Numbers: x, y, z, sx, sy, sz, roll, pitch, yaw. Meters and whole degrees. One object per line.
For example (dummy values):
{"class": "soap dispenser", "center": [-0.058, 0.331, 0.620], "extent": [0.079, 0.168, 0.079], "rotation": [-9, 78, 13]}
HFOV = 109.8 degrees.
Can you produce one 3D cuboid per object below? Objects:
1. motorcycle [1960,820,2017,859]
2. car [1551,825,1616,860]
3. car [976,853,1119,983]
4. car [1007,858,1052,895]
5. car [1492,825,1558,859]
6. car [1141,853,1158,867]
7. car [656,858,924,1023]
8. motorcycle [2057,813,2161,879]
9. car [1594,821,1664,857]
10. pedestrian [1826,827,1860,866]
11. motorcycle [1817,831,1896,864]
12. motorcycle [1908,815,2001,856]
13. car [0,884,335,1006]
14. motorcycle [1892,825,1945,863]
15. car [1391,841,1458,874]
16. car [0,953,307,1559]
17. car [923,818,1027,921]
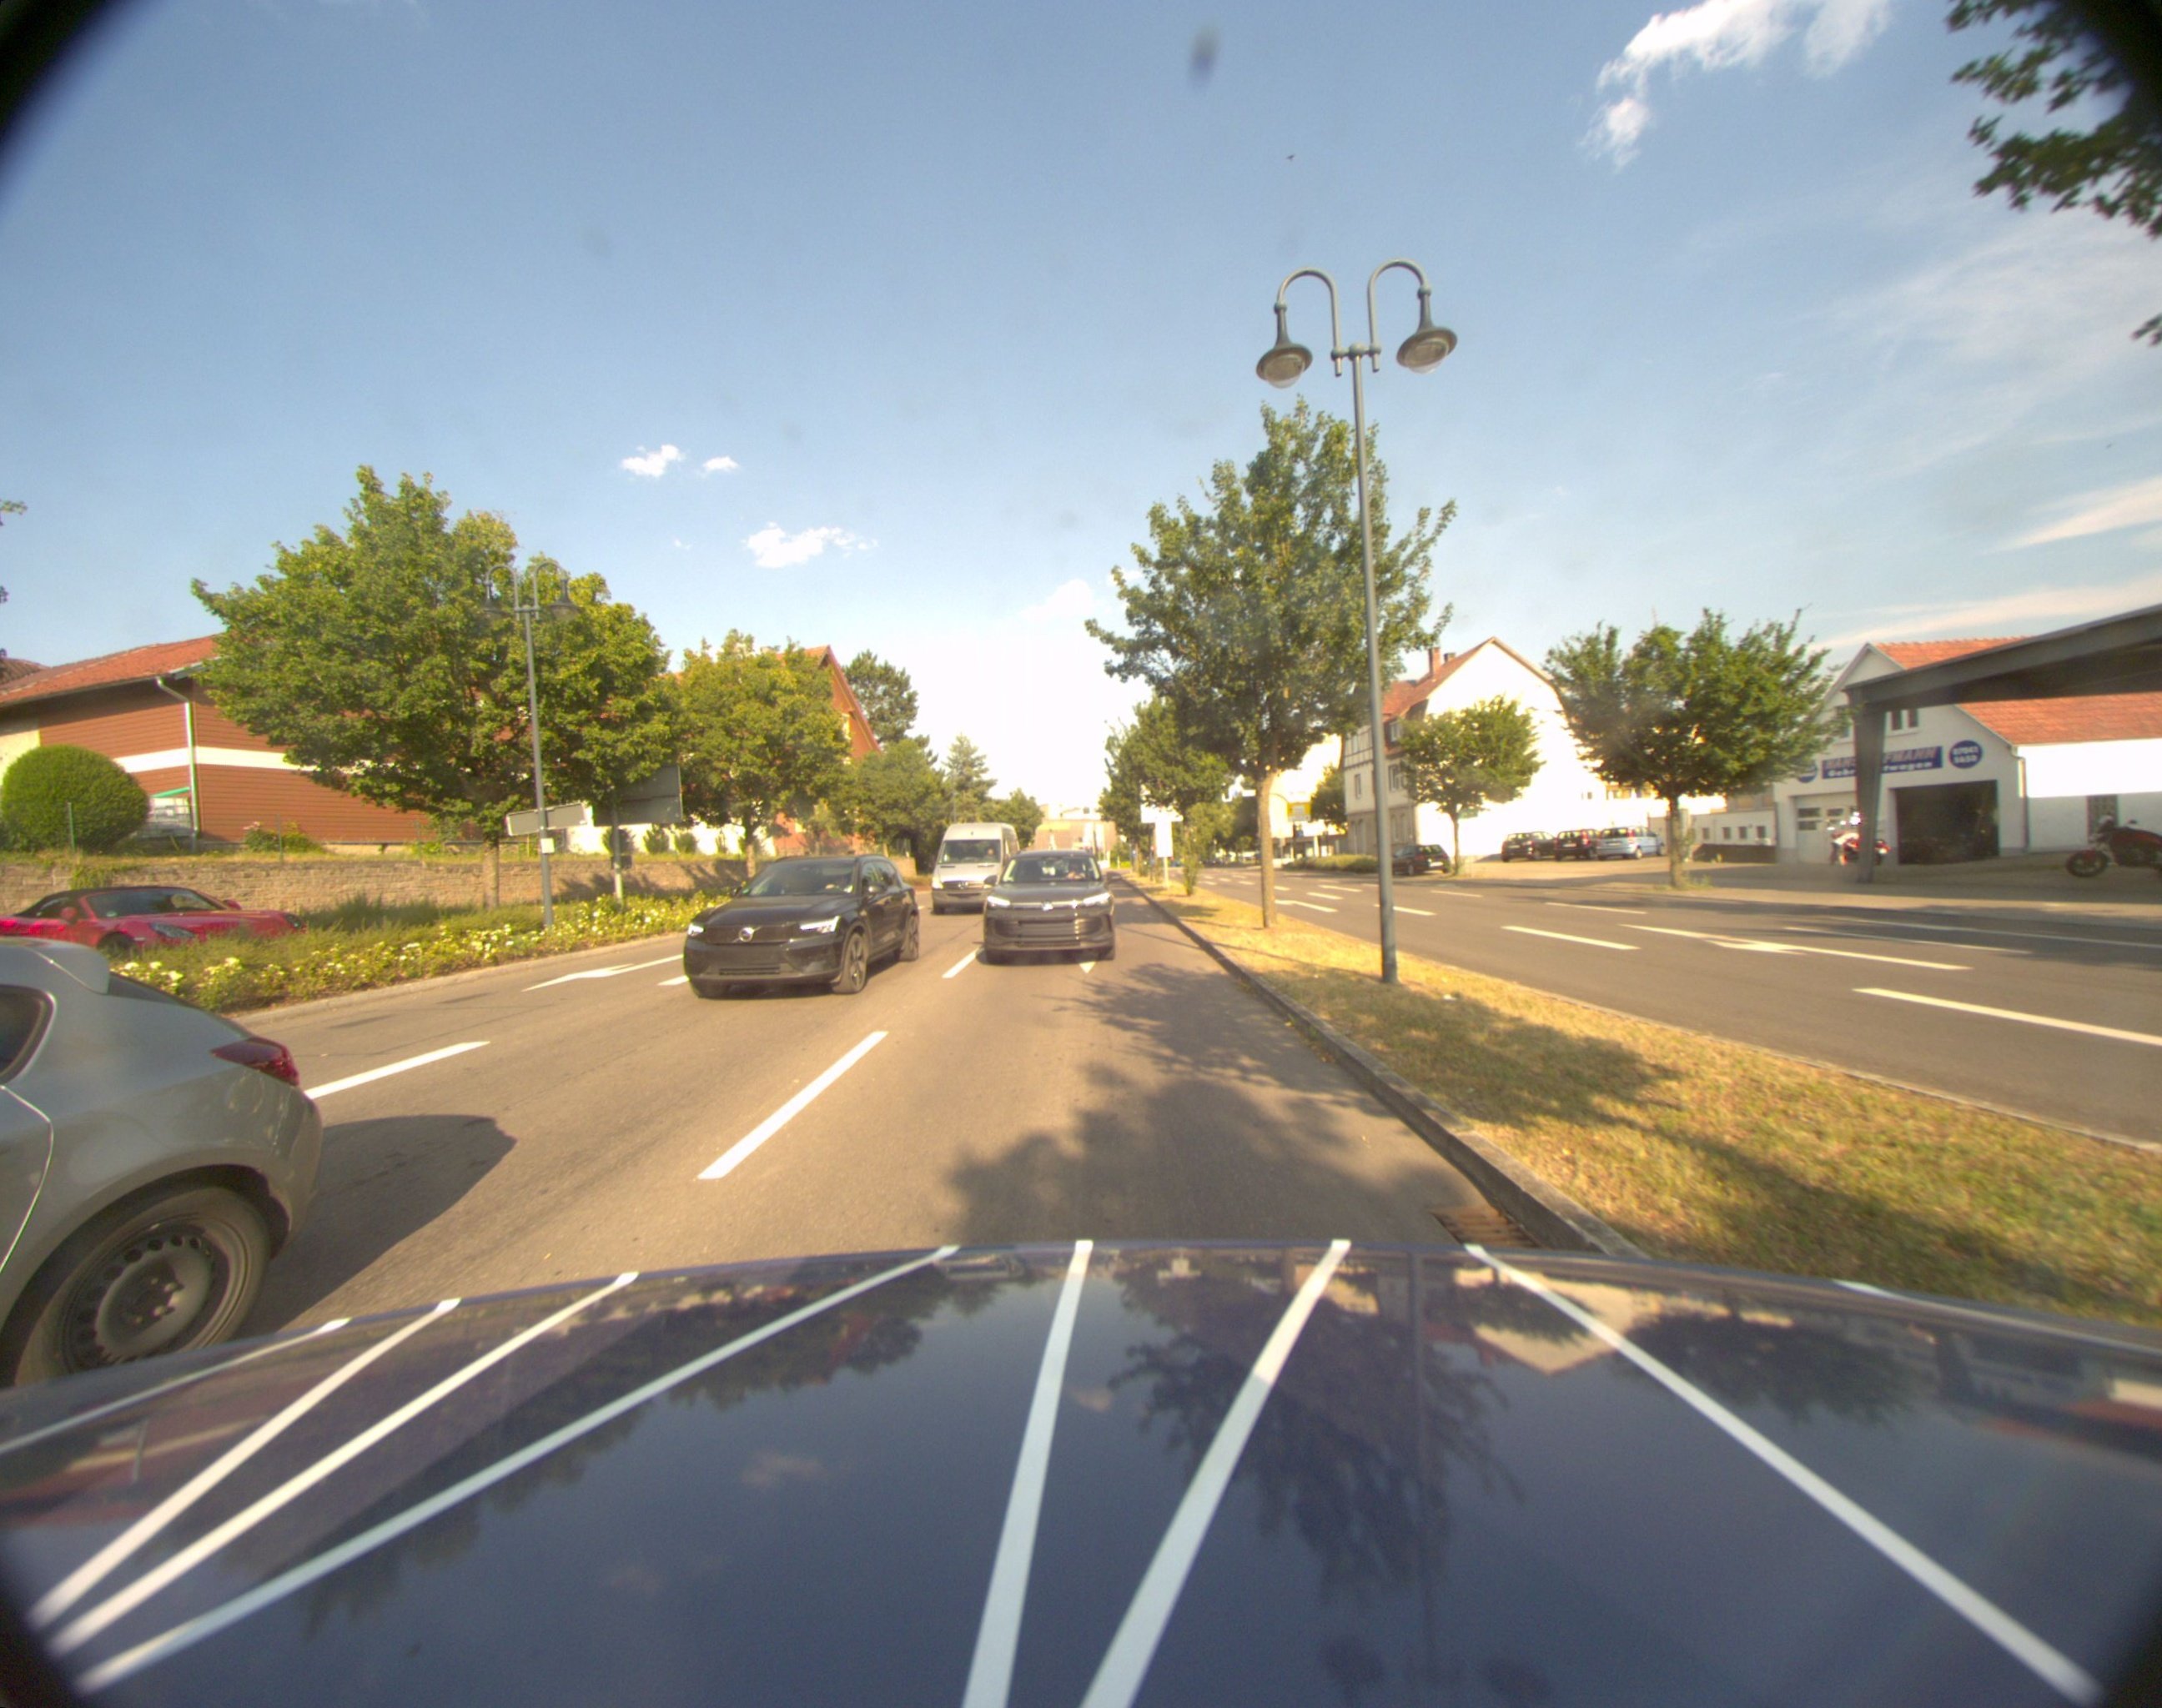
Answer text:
{"class": "motorcycle", "center": [32.719, -0.532, 27.385], "extent": [2.120, 1.315, 0.488], "rotation": [-3, 0, -16]}
{"class": "car", "center": [24.520, -0.577, 37.026], "extent": [3.437, 1.555, 1.583], "rotation": [-3, 1, -38]}
{"class": "car", "center": [-0.406, 0.832, 11.834], "extent": [1.768, 1.582, 4.056], "rotation": [-3, 0, 1]}
{"class": "car", "center": [-2.452, 1.033, 37.010], "extent": [1.768, 1.582, 4.056], "rotation": [-3, 0, 1]}
{"class": "car", "center": [22.871, -0.607, 39.098], "extent": [3.416, 1.616, 1.857], "rotation": [-3, 1, -41]}
{"class": "car", "center": [10.118, 0.878, 112.316], "extent": [1.814, 1.861, 4.004], "rotation": [-2, 0, 15]}
{"class": "car", "center": [-3.426, 0.909, 9.875], "extent": [1.792, 1.596, 4.056], "rotation": [-2, 0, 1]}
{"class": "motorcycle", "center": [21.889, -0.165, 15.644], "extent": [0.489, 1.315, 2.114], "rotation": [-3, 0, -30]}
{"class": "car", "center": [24.689, -0.683, 34.195], "extent": [3.438, 1.534, 1.617], "rotation": [-2, 0, -38]}
{"class": "pedestrian", "center": [27.295, -0.270, 27.215], "extent": [0.596, 1.332, 0.584], "rotation": [-2, 1, -7]}
{"class": "motorcycle", "center": [27.776, -0.213, 27.280], "extent": [0.488, 1.139, 2.118], "rotation": [-3, 0, -6]}
{"class": "motorcycle", "center": [30.526, -0.632, 26.586], "extent": [2.114, 1.315, 0.489], "rotation": [-3, 0, 22]}
{"class": "car", "center": [-13.278, 1.251, 10.774], "extent": [3.994, 1.422, 1.749], "rotation": [-2, 1, 9]}
{"class": "motorcycle", "center": [31.717, -0.382, 28.774], "extent": [2.120, 1.315, 0.488], "rotation": [-3, 0, -19]}
{"class": "car", "center": [16.097, 0.150, 35.758], "extent": [1.672, 1.310, 3.432], "rotation": [-5, 0, 4]}
{"class": "car", "center": [-3.524, 1.068, 0.558], "extent": [1.652, 1.414, 4.143], "rotation": [-1, 0, 0]}
{"class": "car", "center": [-3.039, 0.384, 23.396], "extent": [2.040, 2.643, 6.649], "rotation": [-2, 1, 1]}
